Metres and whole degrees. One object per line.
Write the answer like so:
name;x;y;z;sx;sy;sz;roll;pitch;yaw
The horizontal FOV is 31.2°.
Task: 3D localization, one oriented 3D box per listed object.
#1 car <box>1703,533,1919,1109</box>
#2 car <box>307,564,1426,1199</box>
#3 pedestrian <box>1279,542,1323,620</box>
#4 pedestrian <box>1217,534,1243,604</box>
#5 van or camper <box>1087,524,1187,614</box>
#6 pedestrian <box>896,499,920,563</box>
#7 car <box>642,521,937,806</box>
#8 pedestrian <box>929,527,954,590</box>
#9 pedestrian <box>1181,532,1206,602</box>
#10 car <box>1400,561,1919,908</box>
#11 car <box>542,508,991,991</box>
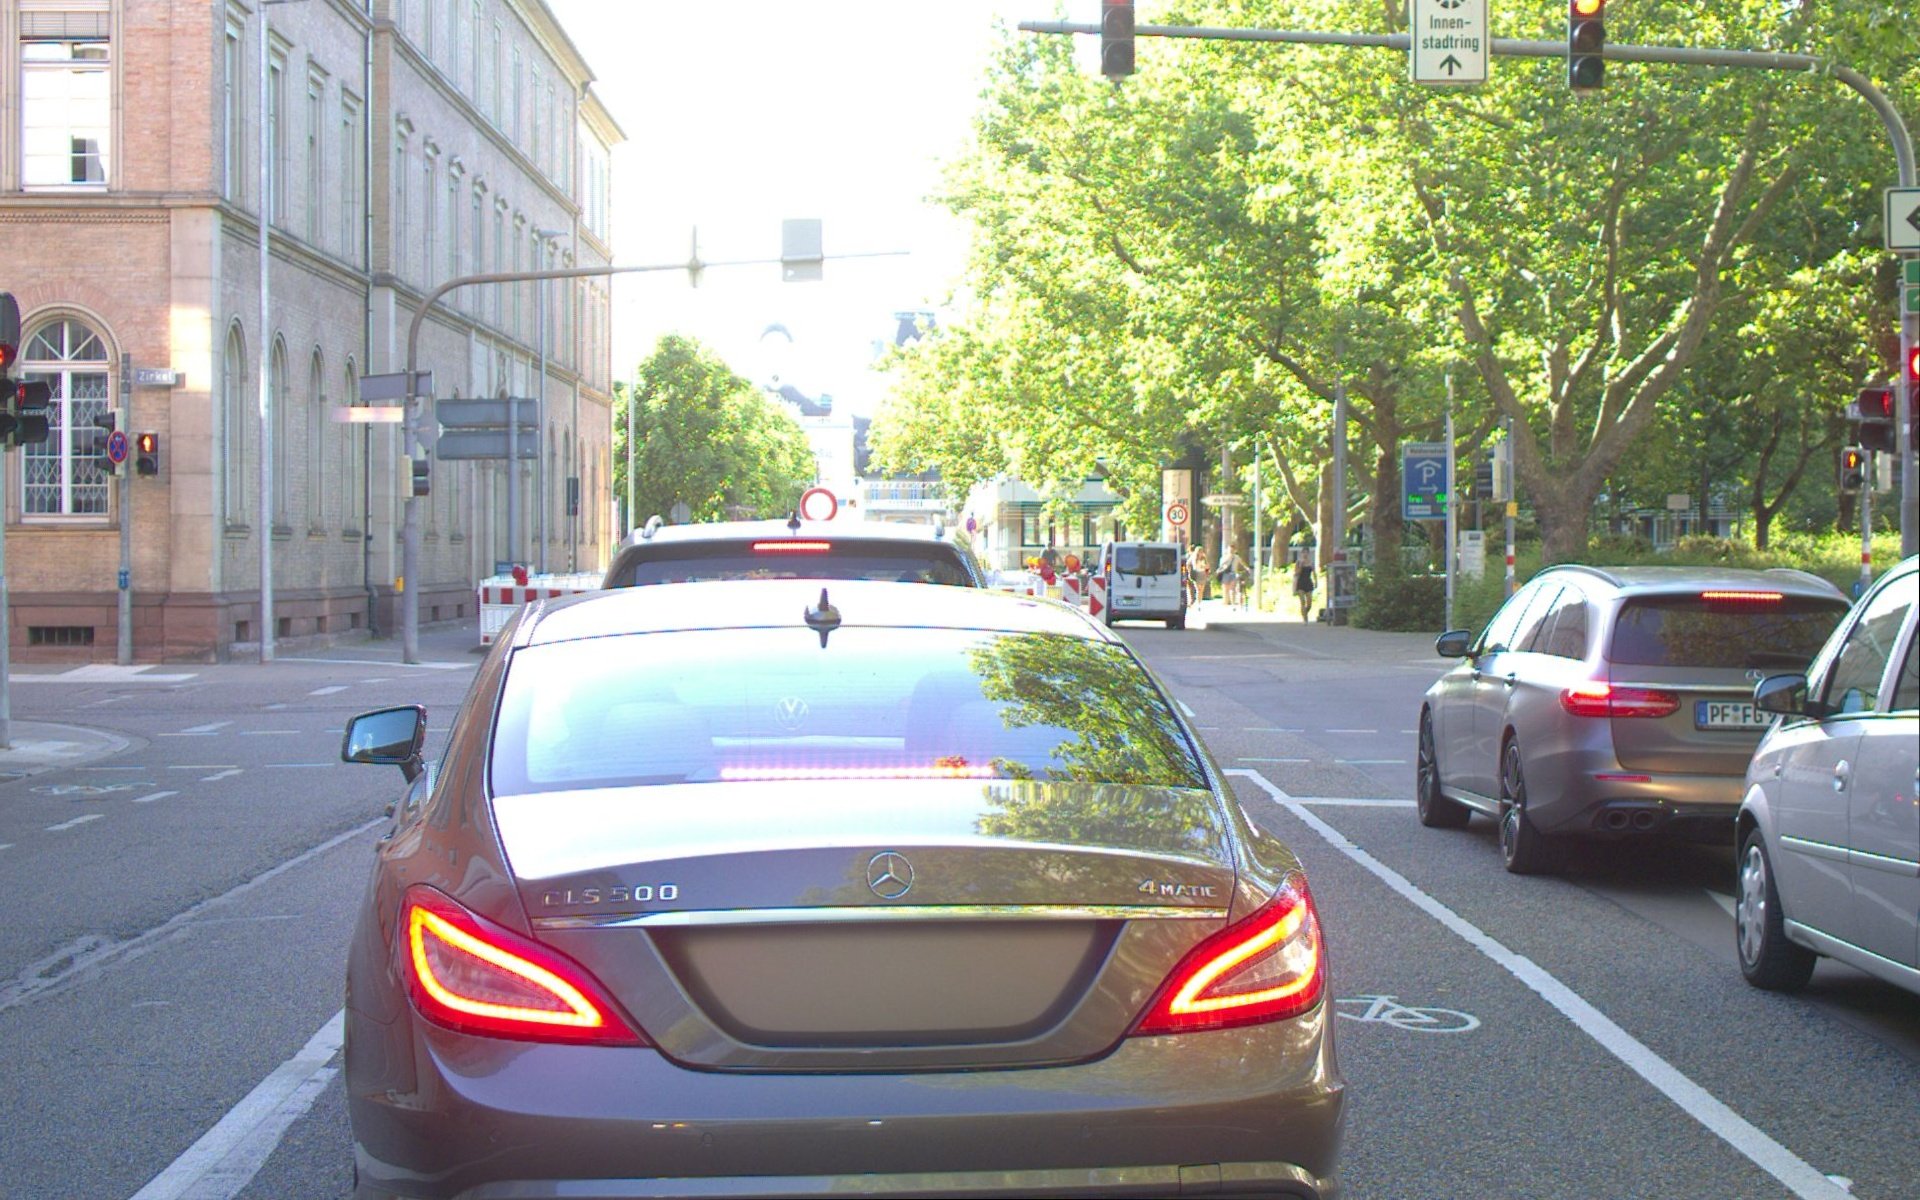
car;3.546;0.599;10.688;1.701;1.597;3.859;0;1;1
car;-0.422;0.666;7.685;1.803;1.451;4.352;0;1;-8
pedestrian;7.139;-0.399;71.916;0.830;1.601;0.651;1;1;-1
pedestrian;7.044;-0.806;89.861;0.603;1.815;0.651;1;1;-1
van or camper;3.938;-0.714;77.137;1.993;1.935;4.594;0;1;0
pedestrian;-1.656;-2.206;109.942;0.724;2.007;0.748;0;1;-4
car;-1.076;0.361;23.254;1.820;1.756;4.000;0;1;-1
pedestrian;-0.598;-1.328;109.758;0.724;2.007;0.748;0;1;-4
pedestrian;6.117;-0.858;90.084;0.603;1.815;0.651;0;1;-1
car;3.535;0.570;17.483;1.913;1.459;4.669;2;1;-1
car;-0.751;0.480;13.702;1.517;1.641;3.881;1;1;-3
